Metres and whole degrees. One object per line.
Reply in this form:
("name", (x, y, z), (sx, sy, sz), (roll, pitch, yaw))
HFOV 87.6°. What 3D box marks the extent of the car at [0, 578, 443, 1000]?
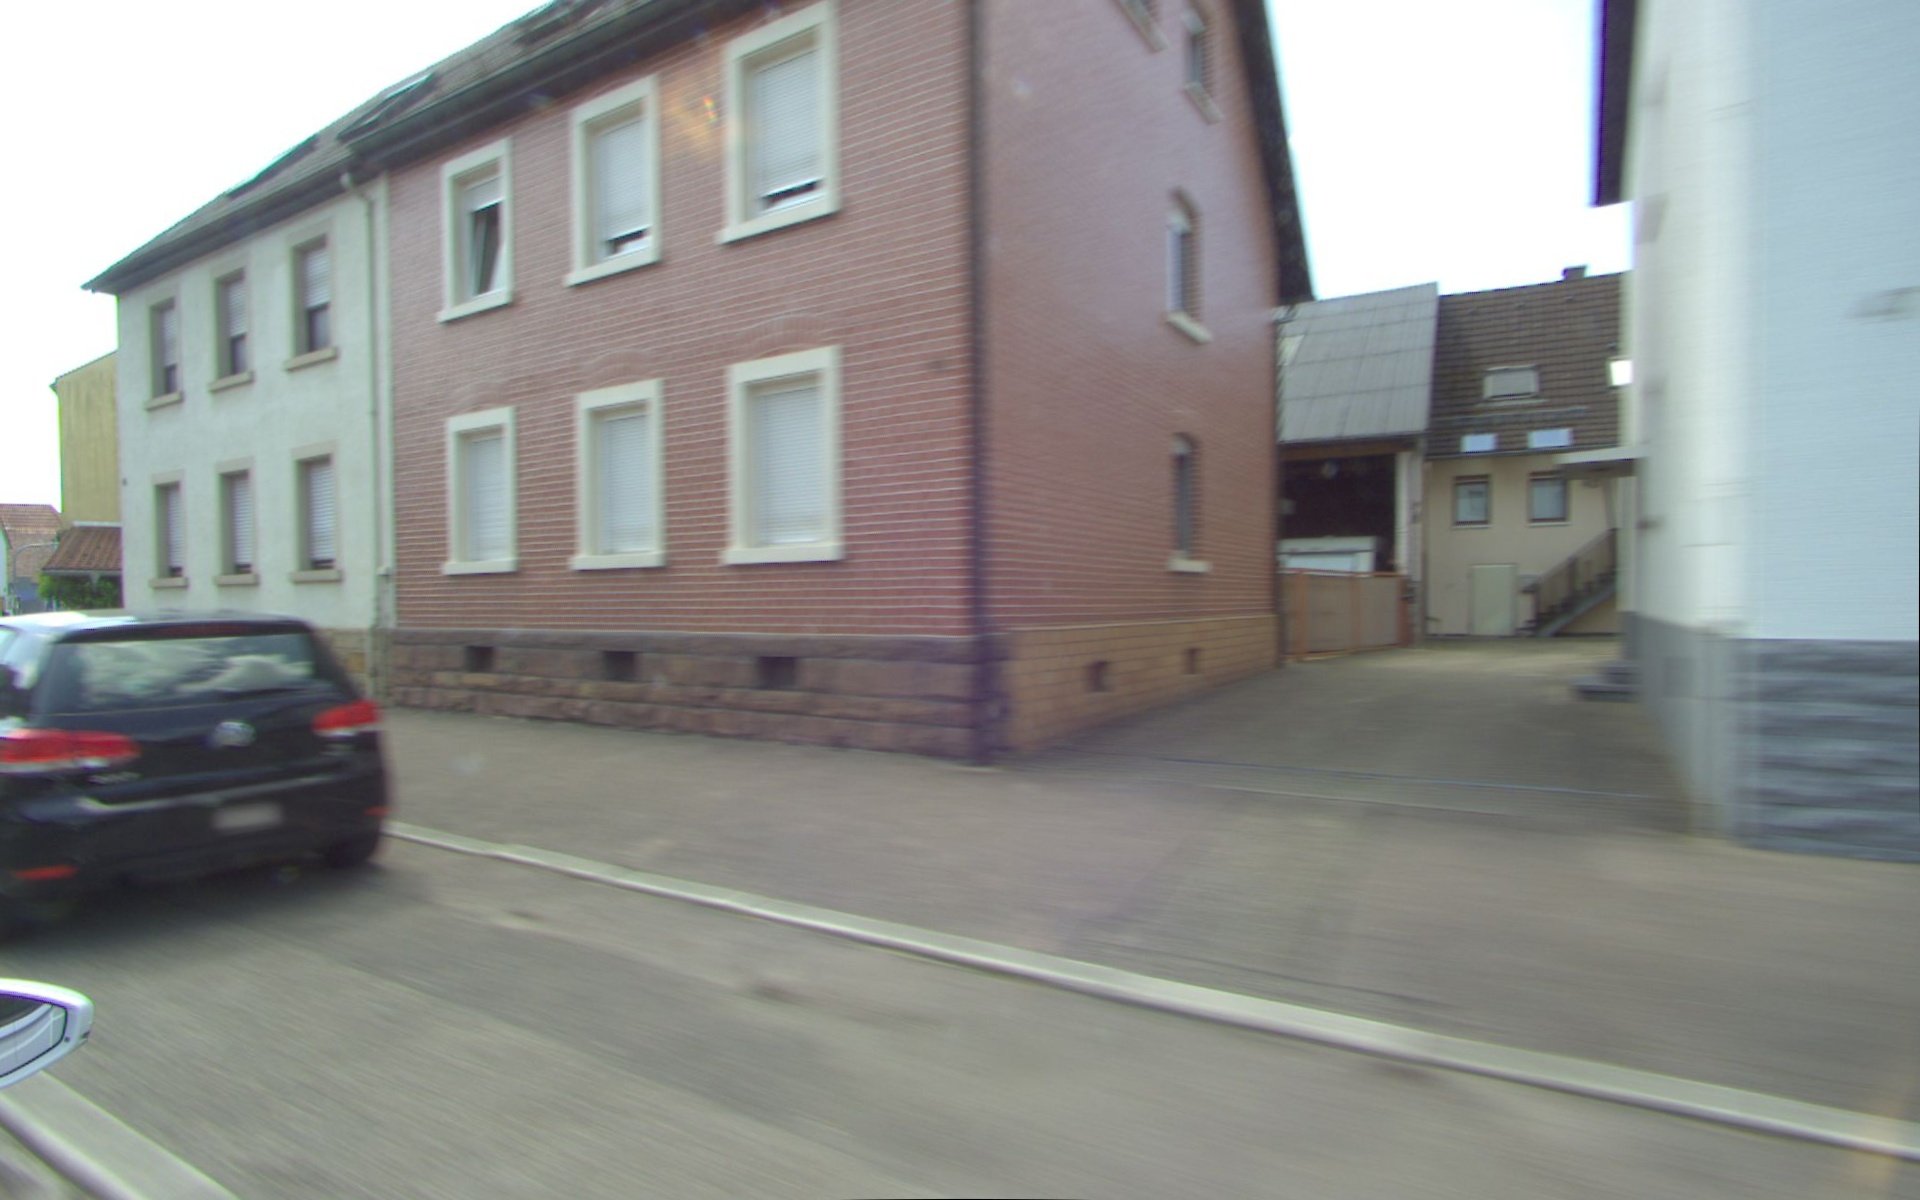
("car", (-4.907, 0.708, 5.787), (3.945, 1.552, 1.762), (2, 4, 35))
